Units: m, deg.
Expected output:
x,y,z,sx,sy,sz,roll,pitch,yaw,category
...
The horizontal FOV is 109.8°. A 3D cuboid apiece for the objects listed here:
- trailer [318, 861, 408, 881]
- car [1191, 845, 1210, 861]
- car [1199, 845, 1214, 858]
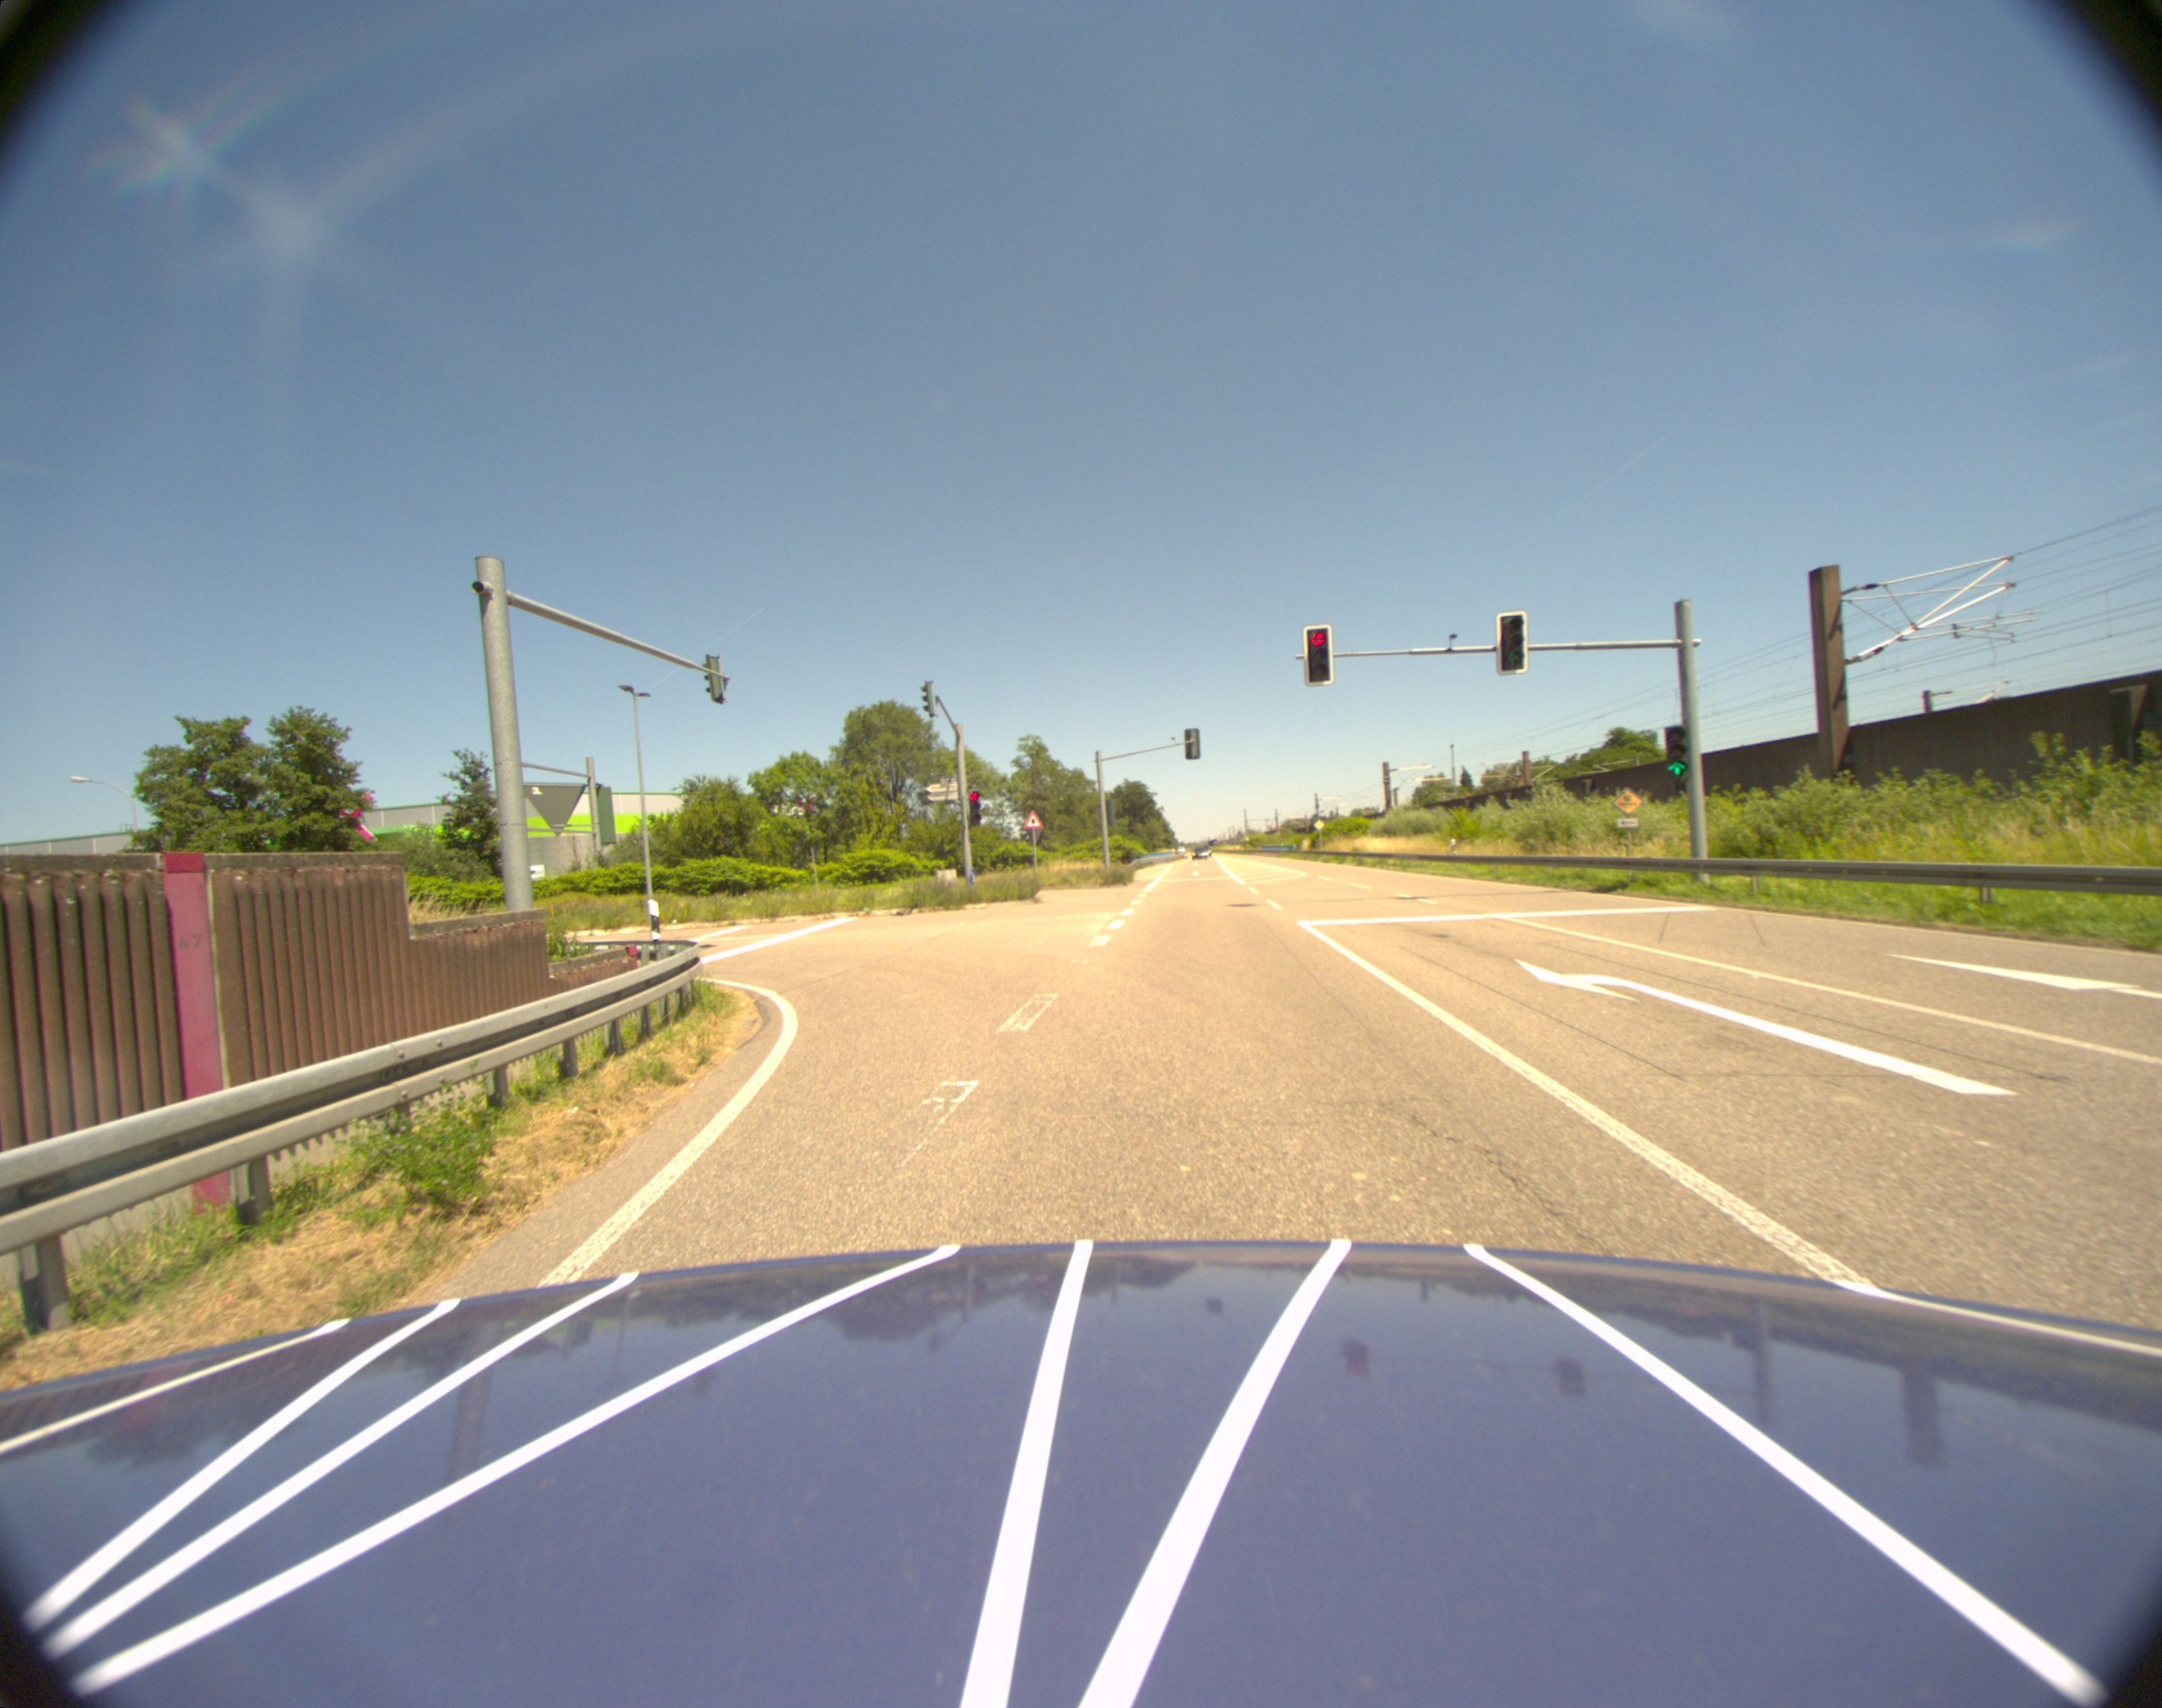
x,y,z,sx,sy,sz,roll,pitch,yaw,category
-33.532,0.790,35.571,2.857,0.734,1.562,-4,2,-36,trailer
14.296,-0.176,90.751,1.997,1.718,4.003,-3,1,11,car
18.393,-0.438,110.982,1.997,1.718,4.003,-3,1,11,car
